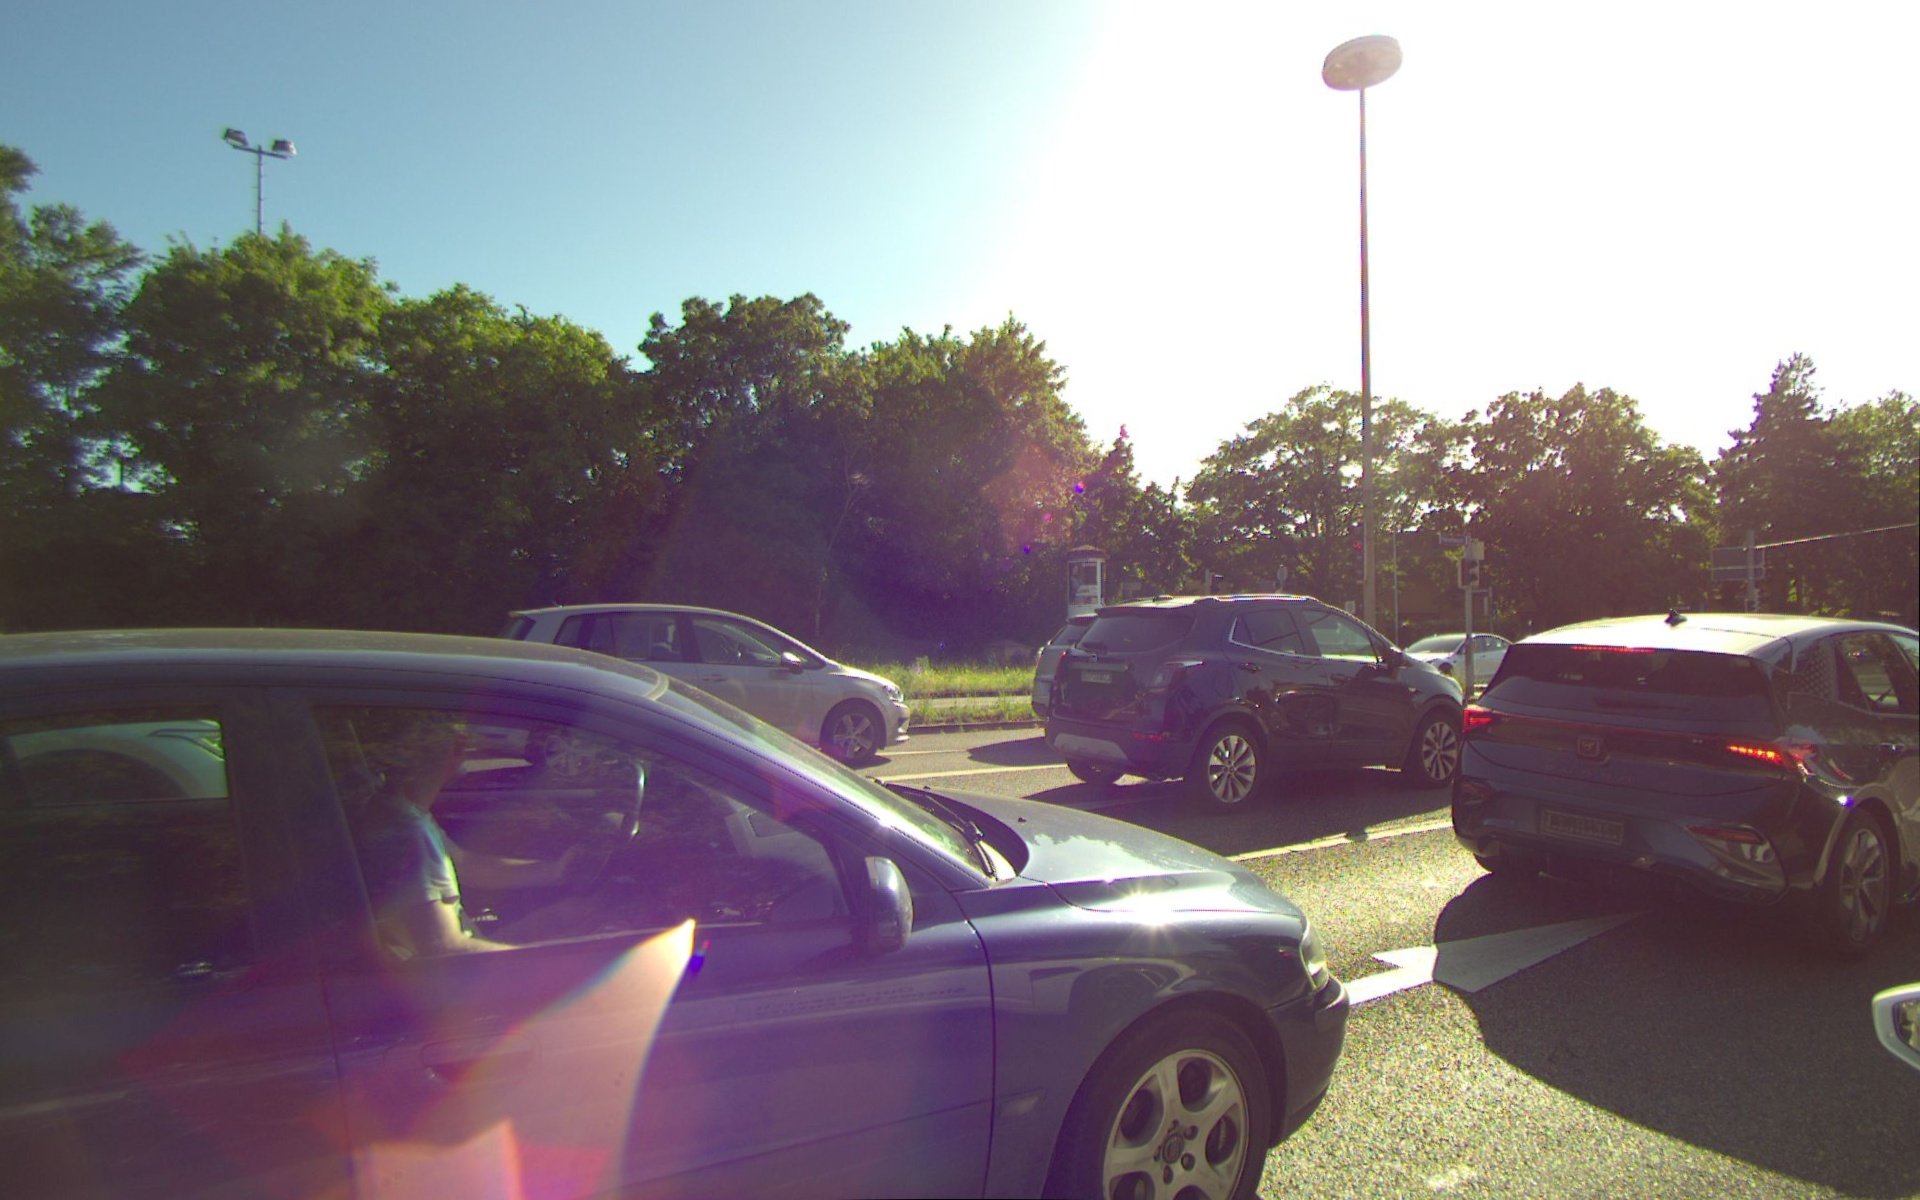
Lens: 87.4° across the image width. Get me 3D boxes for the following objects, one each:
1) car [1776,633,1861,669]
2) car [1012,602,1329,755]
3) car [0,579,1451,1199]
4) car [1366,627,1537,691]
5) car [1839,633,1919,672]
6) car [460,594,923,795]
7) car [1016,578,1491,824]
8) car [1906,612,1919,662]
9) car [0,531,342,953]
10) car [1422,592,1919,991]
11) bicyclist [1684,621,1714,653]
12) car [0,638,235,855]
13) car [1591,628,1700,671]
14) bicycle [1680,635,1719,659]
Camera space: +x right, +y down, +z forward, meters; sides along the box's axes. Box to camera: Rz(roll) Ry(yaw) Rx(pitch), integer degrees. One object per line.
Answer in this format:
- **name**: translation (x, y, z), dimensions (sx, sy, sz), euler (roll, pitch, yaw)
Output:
- **car**: translation (38.467, 2.257, 44.979), dimensions (3.956, 1.529, 1.678), euler (1, -2, -30)
- **car**: translation (2.809, 0.949, 13.187), dimensions (3.956, 1.724, 1.820), euler (1, -2, -32)
- **car**: translation (-1.098, 0.722, 2.207), dimensions (4.404, 1.471, 1.767), euler (2, 0, -30)
- **car**: translation (12.856, 1.492, 26.204), dimensions (4.451, 1.544, 1.880), euler (1, -2, -30)
- **car**: translation (36.440, 2.011, 39.345), dimensions (4.561, 1.452, 1.678), euler (1, -2, -30)
- **car**: translation (-2.615, 0.831, 10.011), dimensions (4.156, 1.632, 1.822), euler (1, -2, -30)
- **car**: translation (2.618, 0.765, 8.800), dimensions (3.953, 1.711, 1.796), euler (1, -2, -30)
- **car**: translation (51.499, 1.904, 52.012), dimensions (5.934, 2.525, 2.090), euler (1, -2, -30)
- **car**: translation (-5.363, 0.591, 4.449), dimensions (4.373, 1.732, 1.984), euler (1, -2, -30)
- **car**: translation (4.738, 0.824, 5.821), dimensions (4.158, 1.601, 1.676), euler (2, -1, -30)
- **bicyclist**: translation (38.760, 1.934, 52.689), dimensions (1.187, 1.670, 0.870), euler (1, -2, -34)
- **car**: translation (-7.915, 0.996, 6.951), dimensions (4.499, 1.448, 1.822), euler (1, -2, -30)
- **car**: translation (24.782, 1.763, 36.292), dimensions (4.172, 1.475, 1.633), euler (1, -2, -30)
- **bicycle**: translation (38.808, 2.480, 52.700), dimensions (2.510, 1.228, 0.870), euler (1, -2, -34)
